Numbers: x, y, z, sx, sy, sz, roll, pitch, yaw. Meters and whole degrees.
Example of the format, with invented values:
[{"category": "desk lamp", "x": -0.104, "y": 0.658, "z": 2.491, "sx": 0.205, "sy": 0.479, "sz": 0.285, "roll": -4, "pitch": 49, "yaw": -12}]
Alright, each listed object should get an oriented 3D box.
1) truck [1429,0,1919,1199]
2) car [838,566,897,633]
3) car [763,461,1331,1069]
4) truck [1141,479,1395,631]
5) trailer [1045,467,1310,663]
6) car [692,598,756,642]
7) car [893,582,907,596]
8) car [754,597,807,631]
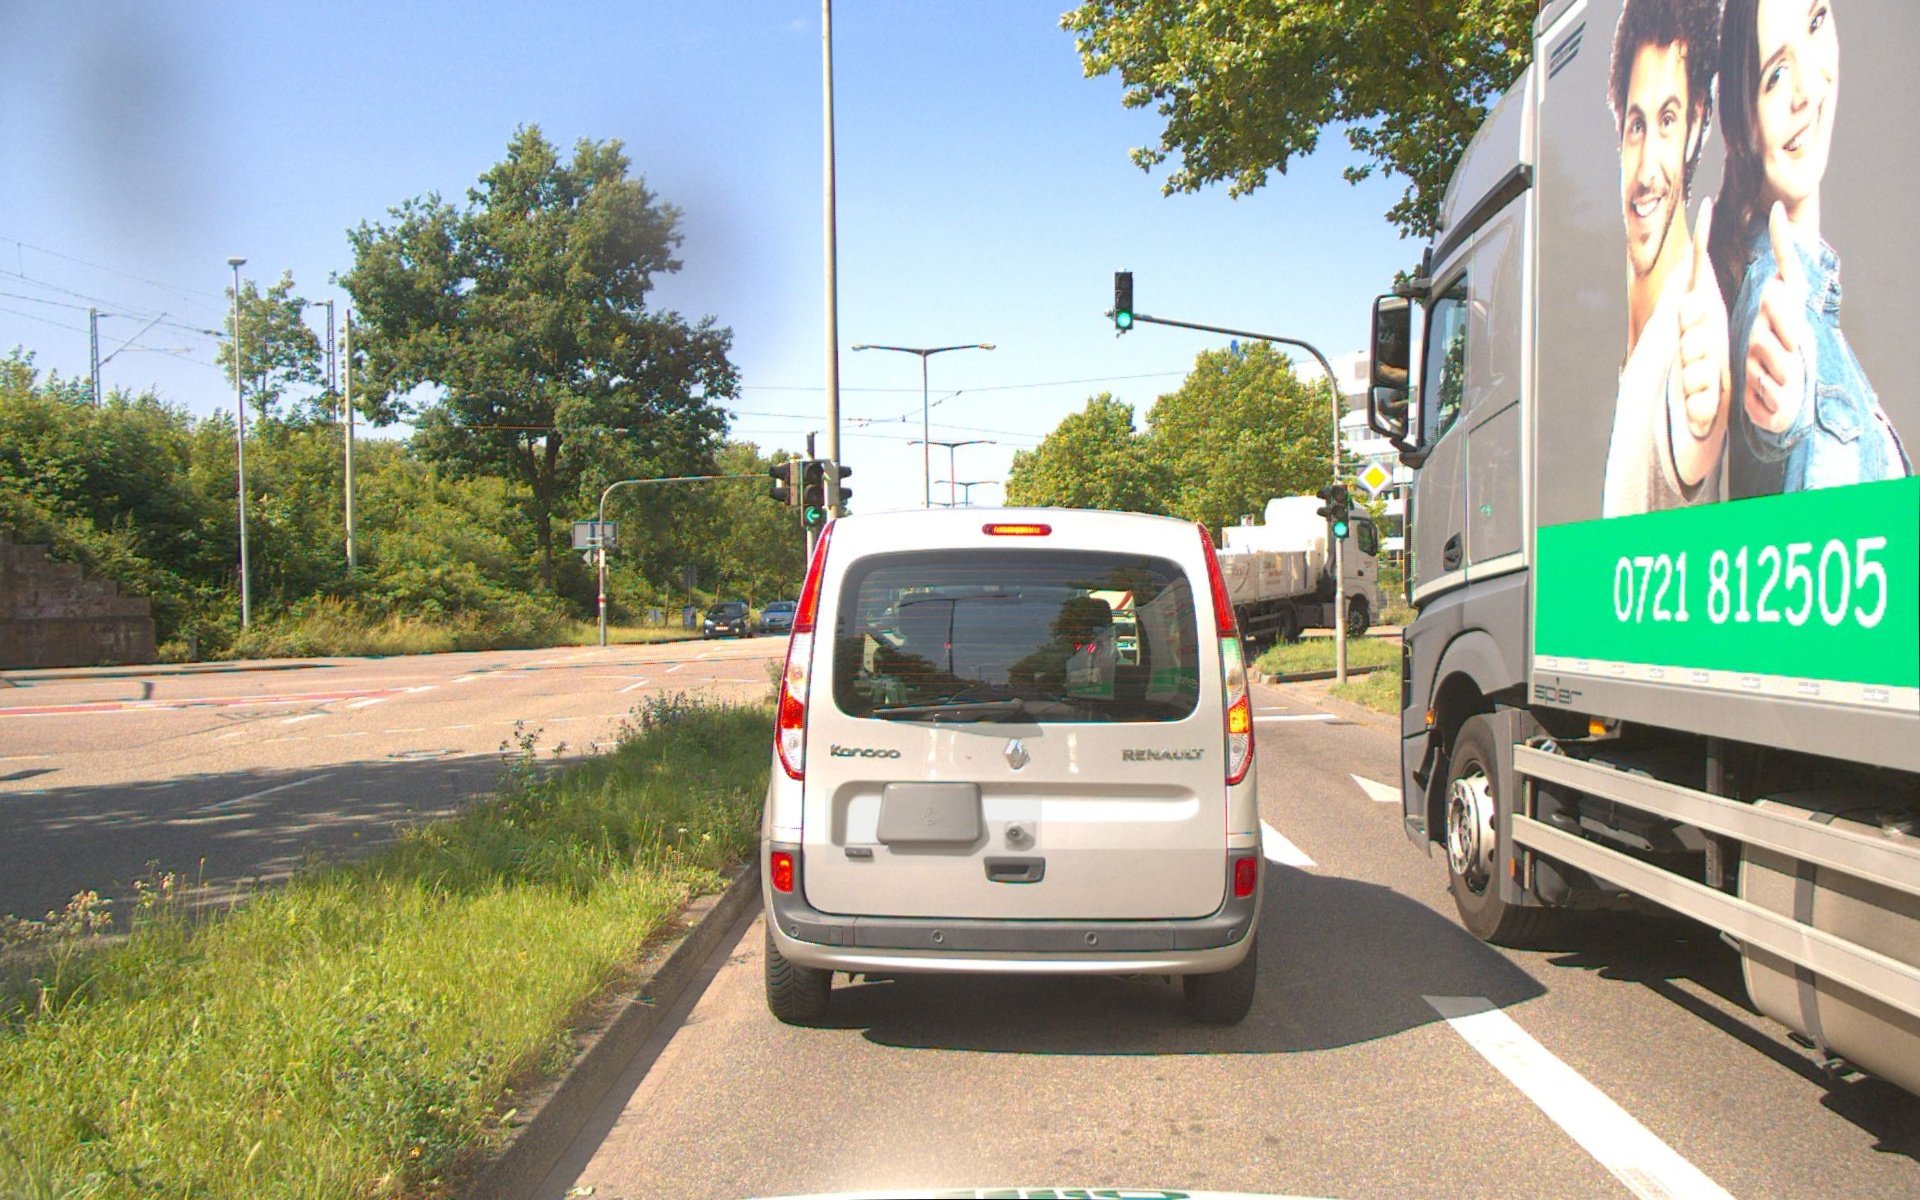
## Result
[{"category": "truck", "x": 3.482, "y": -0.559, "z": 3.568, "sx": 2.673, "sy": 3.958, "sz": 8.724, "roll": 0, "pitch": 0, "yaw": 2}, {"category": "car", "x": -3.840, "y": -0.002, "z": 69.603, "sx": 1.952, "sy": 2.653, "sz": 5.135, "roll": -1, "pitch": 0, "yaw": 2}, {"category": "car", "x": 0.248, "y": 0.526, "z": 7.172, "sx": 1.750, "sy": 1.870, "sz": 3.999, "roll": 1, "pitch": 0, "yaw": -1}, {"category": "truck", "x": 8.307, "y": -1.072, "z": 44.067, "sx": 7.124, "sy": 3.707, "sz": 2.877, "roll": 1, "pitch": -1, "yaw": -41}, {"category": "trailer", "x": 5.366, "y": -0.619, "z": 37.550, "sx": 2.841, "sy": 3.686, "sz": 12.683, "roll": 1, "pitch": 0, "yaw": 22}, {"category": "car", "x": -9.423, "y": 0.782, "z": 66.202, "sx": 1.872, "sy": 1.670, "sz": 3.738, "roll": -1, "pitch": 0, "yaw": 2}, {"category": "car", "x": -9.039, "y": -1.595, "z": 248.961, "sx": 1.849, "sy": 2.049, "sz": 4.001, "roll": 1, "pitch": 0, "yaw": 1}, {"category": "car", "x": -8.783, "y": 0.670, "z": 81.177, "sx": 1.952, "sy": 1.567, "sz": 4.237, "roll": -1, "pitch": 0, "yaw": 2}]
